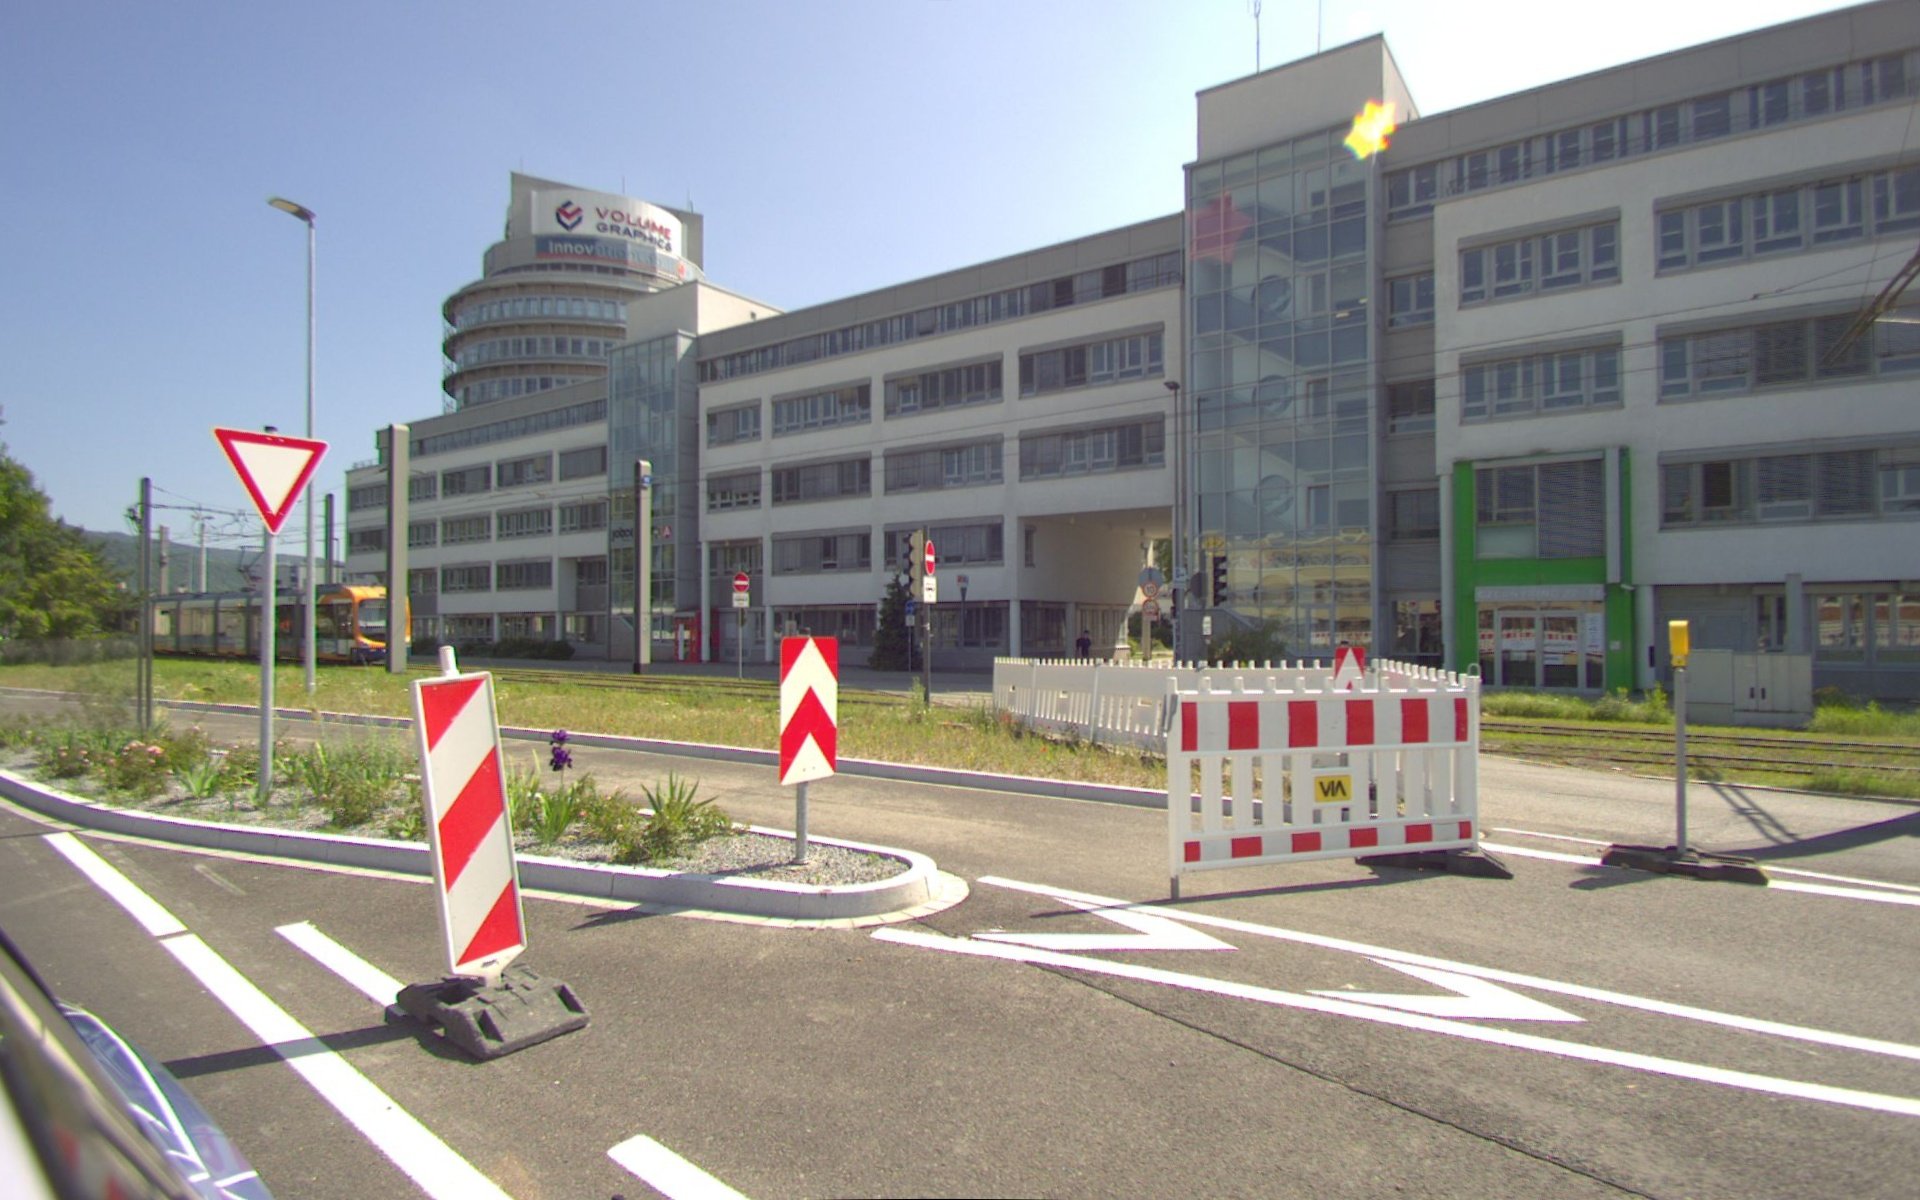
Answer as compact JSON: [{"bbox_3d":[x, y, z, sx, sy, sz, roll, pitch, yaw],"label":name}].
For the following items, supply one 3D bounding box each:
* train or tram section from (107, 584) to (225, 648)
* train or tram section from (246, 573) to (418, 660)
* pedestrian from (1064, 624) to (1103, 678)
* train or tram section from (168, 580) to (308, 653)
[{"bbox_3d":[-47.011,0.895,59.729,11.762,3.477,2.600,-1,0,38],"label":"train or tram section"},{"bbox_3d":[-28.381,0.702,45.384,11.762,3.477,2.600,-1,0,38],"label":"train or tram section"},{"bbox_3d":[4.395,1.797,35.940,1.106,1.840,0.759,-2,0,35],"label":"pedestrian"},{"bbox_3d":[-37.697,0.812,52.558,11.762,3.477,2.600,-1,0,38],"label":"train or tram section"}]
